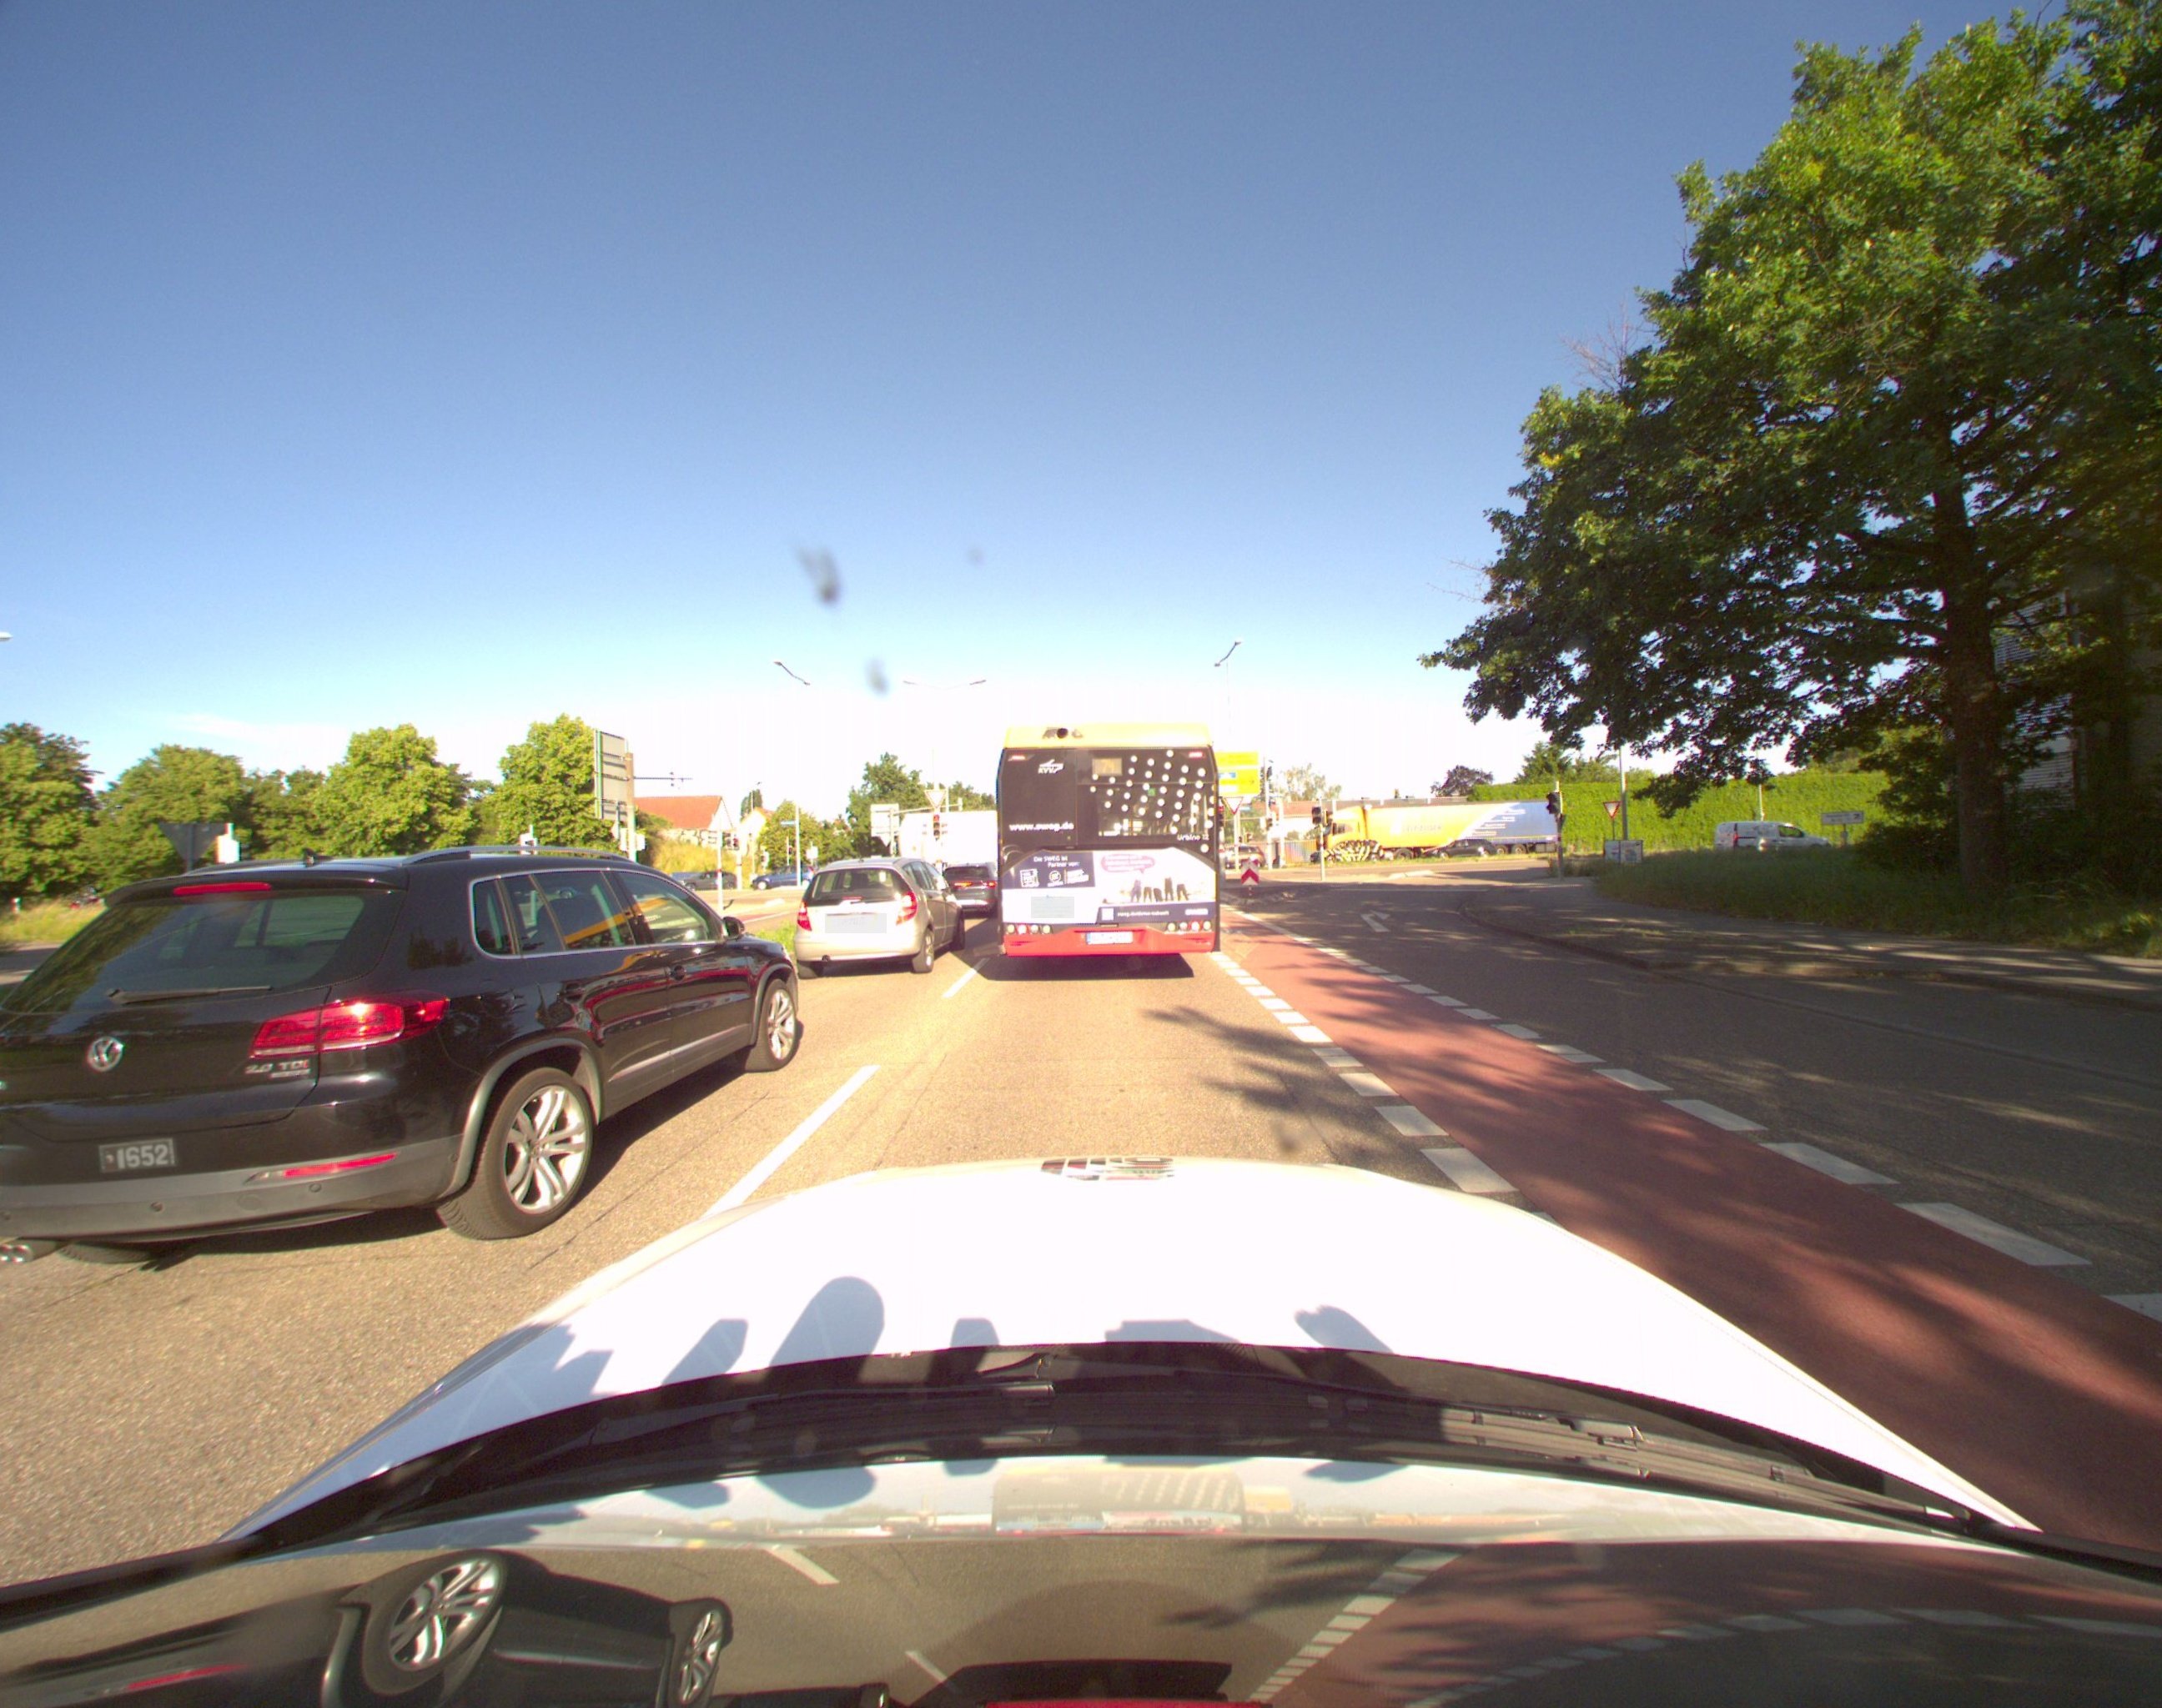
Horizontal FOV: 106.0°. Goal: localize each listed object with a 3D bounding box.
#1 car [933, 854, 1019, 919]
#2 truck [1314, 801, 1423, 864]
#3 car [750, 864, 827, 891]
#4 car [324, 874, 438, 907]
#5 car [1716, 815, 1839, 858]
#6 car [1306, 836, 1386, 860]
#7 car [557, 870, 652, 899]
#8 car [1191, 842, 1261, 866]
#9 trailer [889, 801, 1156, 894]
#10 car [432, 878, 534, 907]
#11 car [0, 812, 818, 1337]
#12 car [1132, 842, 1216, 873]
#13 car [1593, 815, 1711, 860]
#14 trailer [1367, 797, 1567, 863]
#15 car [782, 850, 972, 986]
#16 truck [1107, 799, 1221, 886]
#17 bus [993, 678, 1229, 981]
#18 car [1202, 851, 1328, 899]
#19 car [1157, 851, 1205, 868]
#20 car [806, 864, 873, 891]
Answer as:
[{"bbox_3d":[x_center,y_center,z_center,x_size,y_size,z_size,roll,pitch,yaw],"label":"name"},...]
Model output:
[{"bbox_3d":[-2.656,0.795,21.258,1.582,1.486,3.684,-2,-1,2],"label":"car"},{"bbox_3d":[19.281,-1.411,54.723,6.387,3.998,2.468,-2,0,-5],"label":"truck"},{"bbox_3d":[-17.304,1.385,48.296,3.980,1.553,1.693,-1,-1,-5],"label":"car"},{"bbox_3d":[-39.566,2.048,46.130,4.522,1.715,1.995,-1,-1,-7],"label":"car"},{"bbox_3d":[31.888,-0.780,37.390,4.087,1.801,1.461,-2,-1,8],"label":"car"},{"bbox_3d":[15.409,-0.321,47.529,4.148,1.302,1.573,-1,-1,-2],"label":"car"},{"bbox_3d":[-24.308,1.518,41.646,3.842,1.385,1.678,-1,-1,-7],"label":"car"},{"bbox_3d":[8.970,0.013,50.473,3.980,1.442,1.563,-1,-1,-5],"label":"car"},{"bbox_3d":[-2.538,-0.299,36.533,11.454,3.696,2.392,-2,0,-5],"label":"trailer"},{"bbox_3d":[-29.912,1.908,40.808,3.842,1.313,1.504,-1,-1,-7],"label":"car"},{"bbox_3d":[-3.163,0.778,4.717,1.814,1.673,4.004,-3,-1,1],"label":"car"},{"bbox_3d":[4.905,0.210,43.255,4.212,1.563,1.761,-1,-1,-3],"label":"car"},{"bbox_3d":[17.815,-0.497,25.395,3.412,1.296,1.449,0,-1,-24],"label":"car"},{"bbox_3d":[26.157,-1.604,55.389,12.712,4.030,2.466,-2,0,-5],"label":"trailer"},{"bbox_3d":[-2.868,0.812,12.409,1.747,1.620,4.034,-2,1,1],"label":"car"},{"bbox_3d":[3.686,-0.499,36.971,4.790,3.695,2.408,-2,0,-3],"label":"truck"},{"bbox_3d":[0.521,-0.267,15.069,2.586,3.334,11.988,-1,0,2],"label":"bus"},{"bbox_3d":[5.392,0.606,24.121,3.500,1.302,1.579,-1,1,10],"label":"car"},{"bbox_3d":[7.901,0.460,64.727,3.548,1.265,1.362,-2,0,36],"label":"car"},{"bbox_3d":[-16.161,1.571,54.562,3.979,1.612,1.693,-2,0,-4],"label":"car"}]
